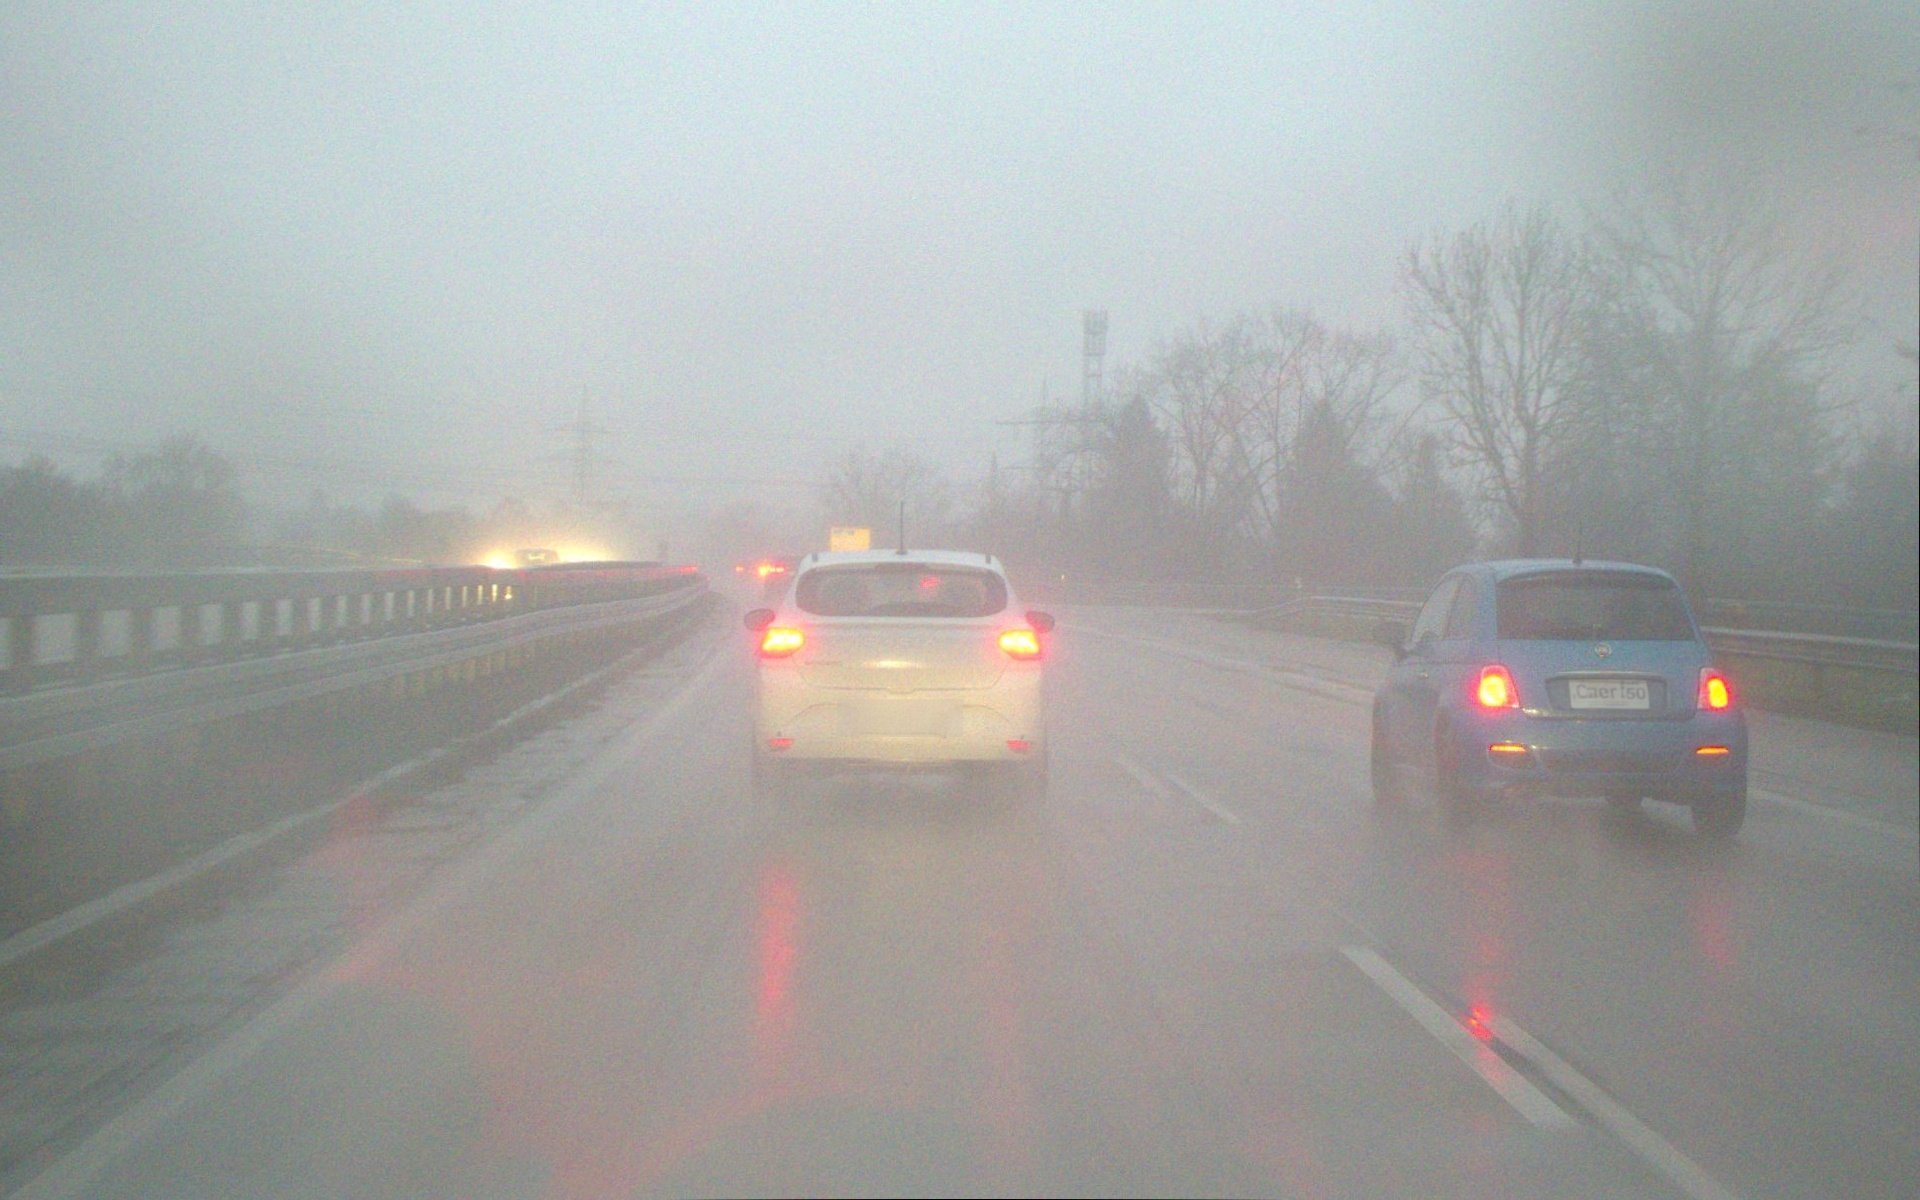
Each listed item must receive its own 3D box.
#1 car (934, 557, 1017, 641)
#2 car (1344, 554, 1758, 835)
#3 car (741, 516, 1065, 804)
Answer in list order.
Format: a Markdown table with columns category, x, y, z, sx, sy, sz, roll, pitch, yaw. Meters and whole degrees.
| category | x | y | z | sx | sy | sz | roll | pitch | yaw |
| --- | --- | --- | --- | --- | --- | --- | --- | --- | --- |
| car | 0.398 | -0.018 | 87.219 | 1.873 | 1.897 | 4.000 | 6 | 0 | 1 |
| car | 3.405 | 0.478 | 20.555 | 1.845 | 1.448 | 4.149 | 1 | 1 | 2 |
| car | -0.361 | 0.306 | 21.704 | 1.845 | 1.630 | 3.768 | 1 | 1 | -1 |
